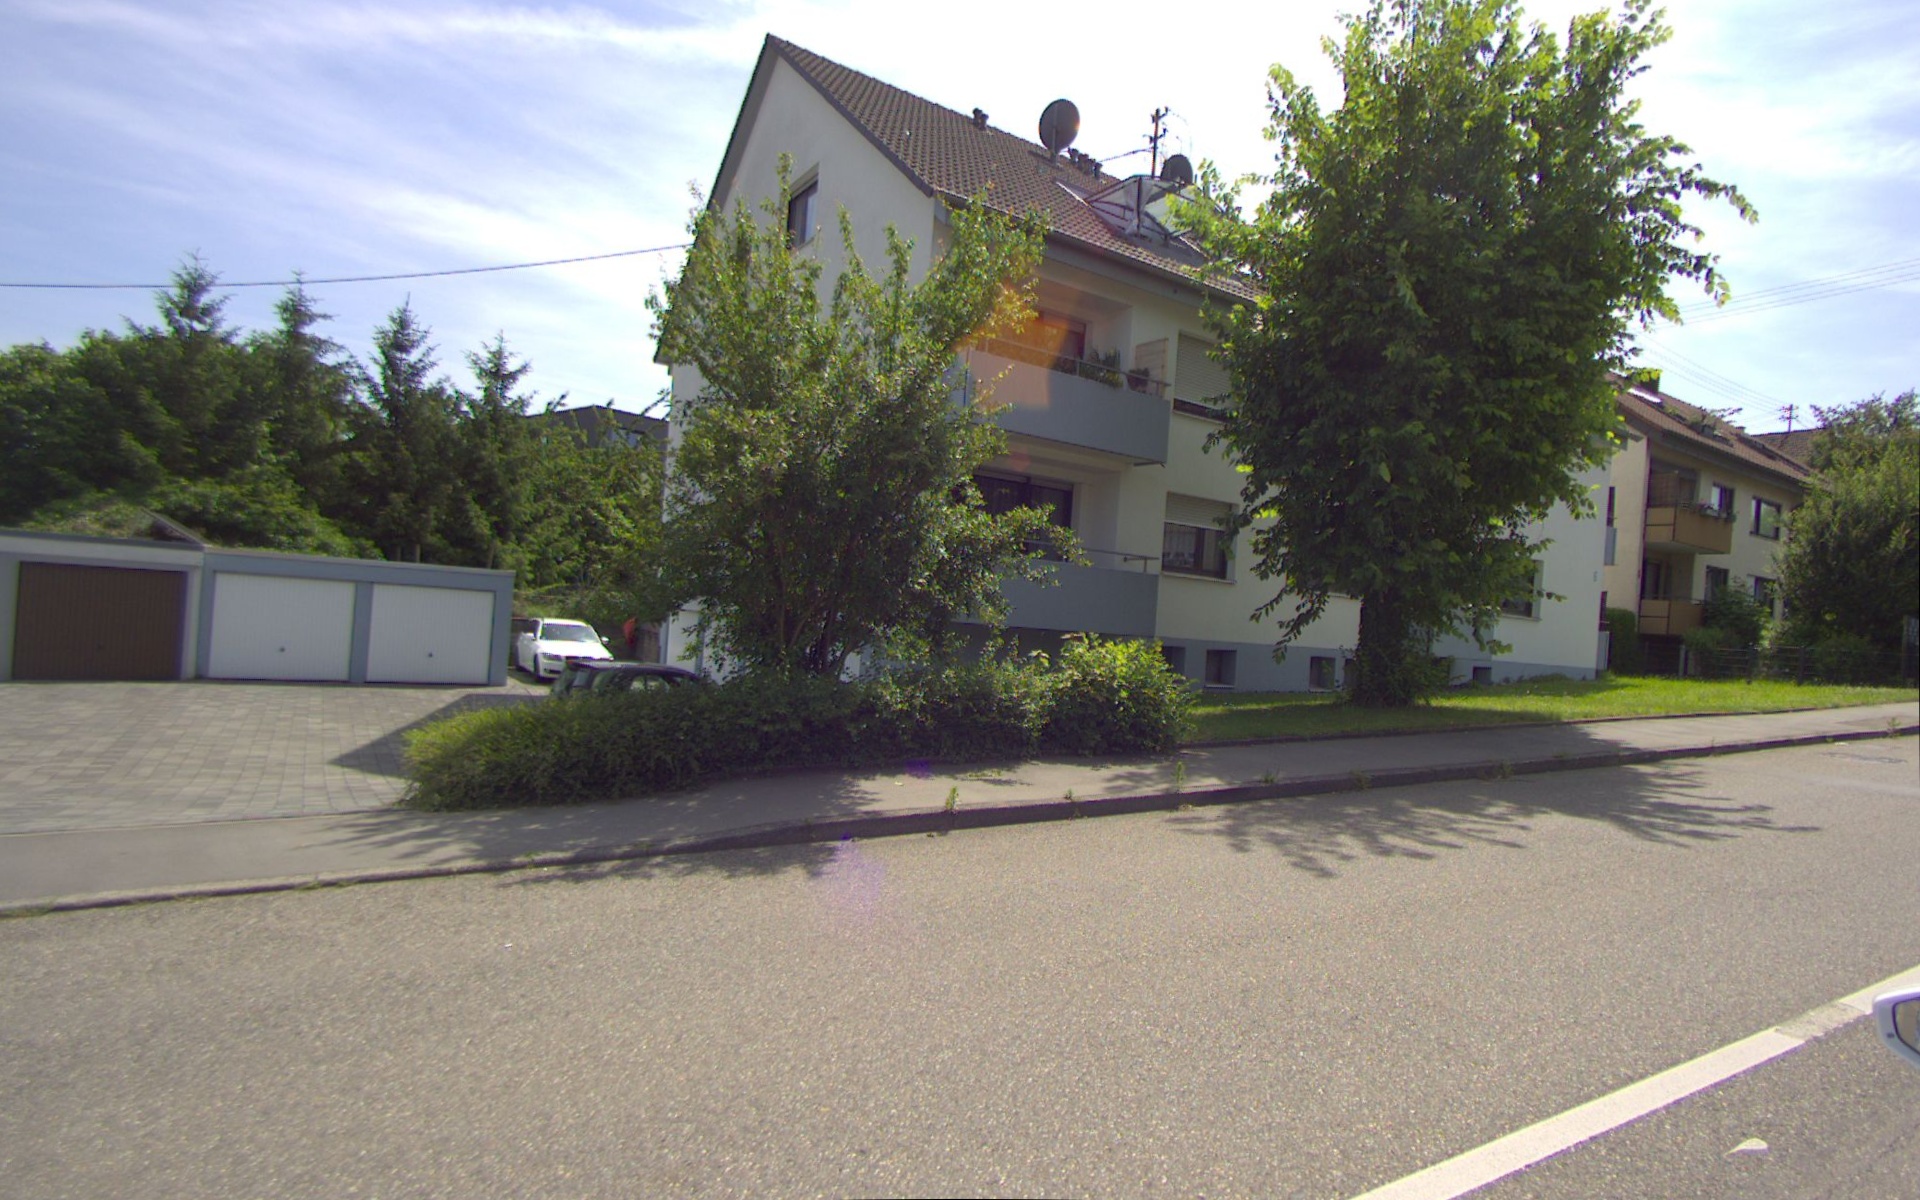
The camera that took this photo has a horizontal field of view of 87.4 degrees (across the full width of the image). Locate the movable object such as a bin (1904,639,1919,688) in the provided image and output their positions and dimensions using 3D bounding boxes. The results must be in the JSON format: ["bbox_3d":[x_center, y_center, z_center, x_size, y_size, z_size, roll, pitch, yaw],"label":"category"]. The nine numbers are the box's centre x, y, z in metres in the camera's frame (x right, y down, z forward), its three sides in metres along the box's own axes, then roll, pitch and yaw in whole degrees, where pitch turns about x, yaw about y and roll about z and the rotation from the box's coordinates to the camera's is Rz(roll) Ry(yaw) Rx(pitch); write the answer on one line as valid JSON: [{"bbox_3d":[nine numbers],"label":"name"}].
[{"bbox_3d":[22.624,1.490,23.465,0.641,1.111,0.601,2,0,-24],"label":"movable object such as a bin"}]

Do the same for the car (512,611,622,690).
[{"bbox_3d":[-9.934,1.212,25.197,1.976,1.483,4.247,6,0,-28],"label":"car"}]

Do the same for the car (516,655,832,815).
[{"bbox_3d":[-3.300,1.522,11.820,3.205,1.560,1.460,5,-2,-37],"label":"car"}]
